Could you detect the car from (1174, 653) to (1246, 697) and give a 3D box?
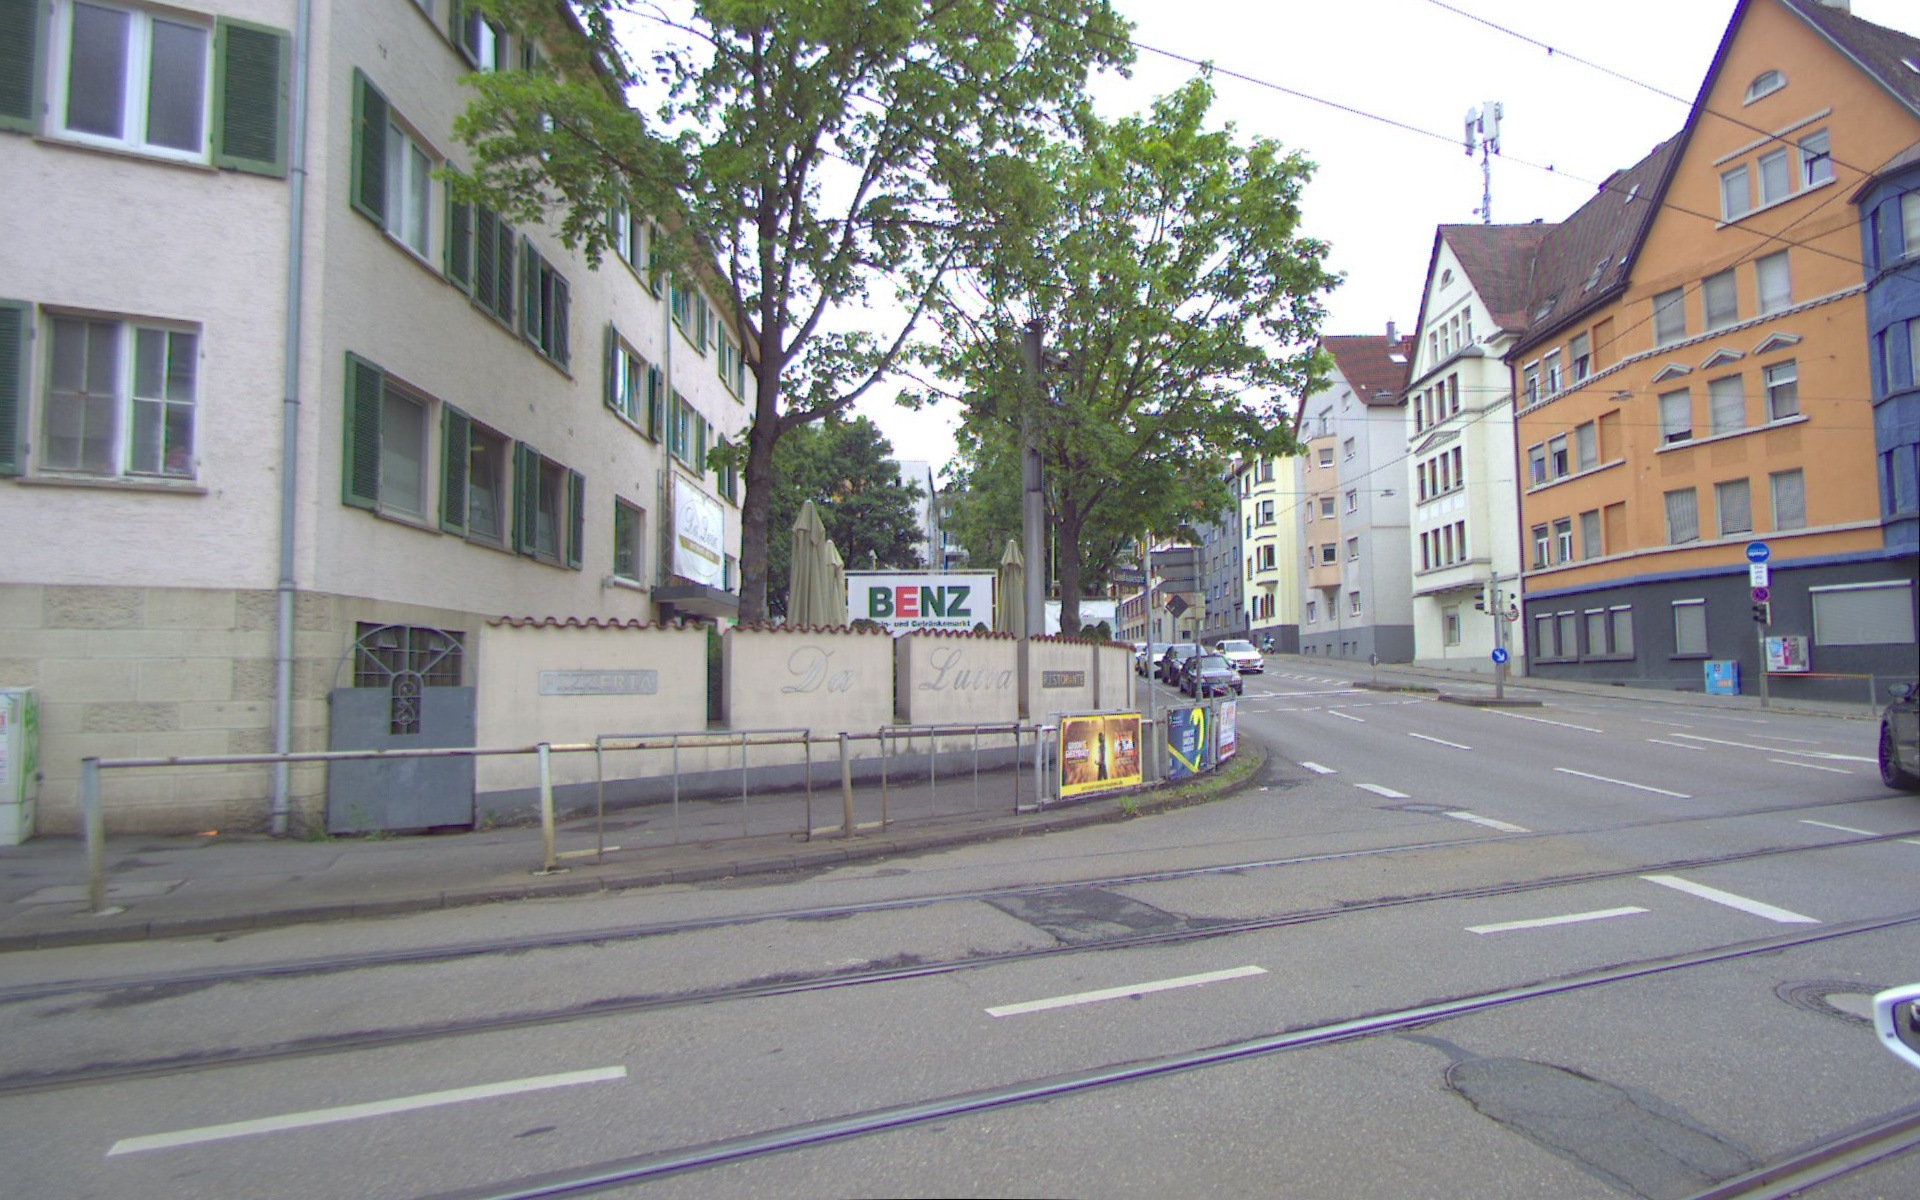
[{"bbox_3d":[8.758,2.612,35.519,1.771,1.298,4.239,-3,-2,5],"label":"car"}]

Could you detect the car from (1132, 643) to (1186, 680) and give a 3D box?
[{"bbox_3d":[9.780,2.987,49.677,1.919,1.614,4.500,-3,-2,3],"label":"car"}]

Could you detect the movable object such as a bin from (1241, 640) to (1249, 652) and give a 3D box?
[{"bbox_3d":[23.165,3.746,81.649,0.467,0.903,0.517,-3,-1,-1],"label":"movable object such as a bin"}]

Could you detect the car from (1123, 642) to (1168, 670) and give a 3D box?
[{"bbox_3d":[10.457,3.149,56.899,1.808,1.430,4.075,-3,-2,2],"label":"car"}]

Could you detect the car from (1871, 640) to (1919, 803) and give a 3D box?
[{"bbox_3d":[11.051,1.272,10.288,1.997,1.663,4.343,0,-3,35],"label":"car"}]

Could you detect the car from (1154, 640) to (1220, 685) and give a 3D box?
[{"bbox_3d":[9.474,2.586,42.303,1.919,1.664,4.416,-3,-2,3],"label":"car"}]

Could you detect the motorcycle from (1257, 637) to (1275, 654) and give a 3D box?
[{"bbox_3d":[22.791,3.372,74.780,0.528,1.171,2.226,-3,-2,-2],"label":"motorcycle"}]

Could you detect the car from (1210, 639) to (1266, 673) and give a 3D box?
[{"bbox_3d":[13.527,2.706,49.151,1.746,1.567,4.327,0,-2,3],"label":"car"}]
